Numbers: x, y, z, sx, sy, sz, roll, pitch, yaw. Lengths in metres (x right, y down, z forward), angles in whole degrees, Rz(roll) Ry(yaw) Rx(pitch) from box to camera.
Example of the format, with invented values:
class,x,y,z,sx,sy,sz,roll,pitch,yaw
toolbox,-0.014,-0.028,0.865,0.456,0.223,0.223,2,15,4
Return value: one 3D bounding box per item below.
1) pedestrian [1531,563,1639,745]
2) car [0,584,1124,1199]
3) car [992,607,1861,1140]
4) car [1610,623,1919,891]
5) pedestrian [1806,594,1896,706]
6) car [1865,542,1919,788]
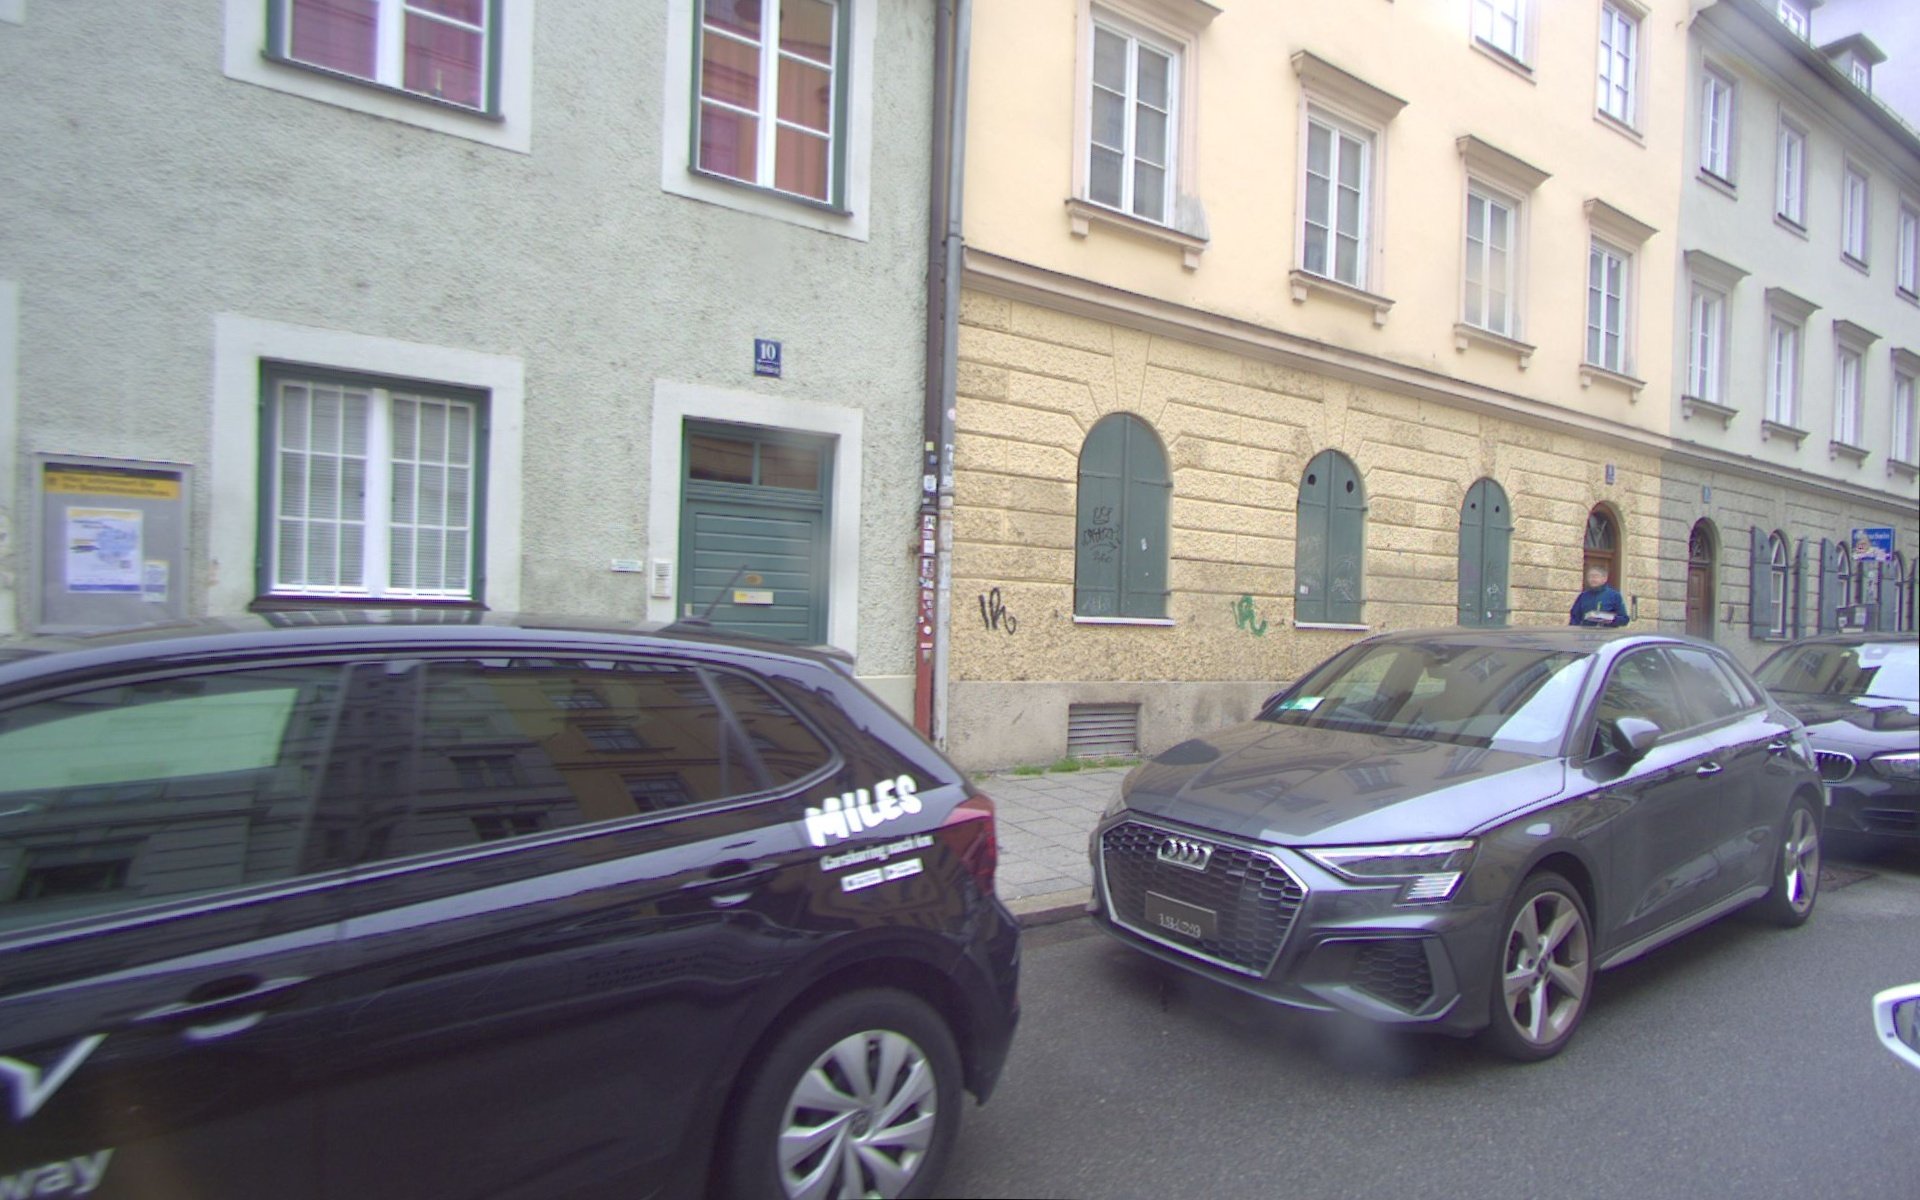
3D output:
class,x,y,z,sx,sy,sz,roll,pitch,yaw
pedestrian,7.346,0.614,11.814,0.741,2.040,0.801,1,0,-30
car,-1.829,0.692,2.137,4.228,1.420,1.844,1,1,-36
car,2.399,0.801,4.744,4.227,1.420,1.845,1,1,-35
car,6.742,0.934,7.310,4.225,1.420,1.846,1,1,-34
pedestrian,14.334,0.781,16.170,1.009,1.734,0.801,1,0,-31
car,10.826,0.643,10.029,4.520,2.231,1.843,1,1,-38
